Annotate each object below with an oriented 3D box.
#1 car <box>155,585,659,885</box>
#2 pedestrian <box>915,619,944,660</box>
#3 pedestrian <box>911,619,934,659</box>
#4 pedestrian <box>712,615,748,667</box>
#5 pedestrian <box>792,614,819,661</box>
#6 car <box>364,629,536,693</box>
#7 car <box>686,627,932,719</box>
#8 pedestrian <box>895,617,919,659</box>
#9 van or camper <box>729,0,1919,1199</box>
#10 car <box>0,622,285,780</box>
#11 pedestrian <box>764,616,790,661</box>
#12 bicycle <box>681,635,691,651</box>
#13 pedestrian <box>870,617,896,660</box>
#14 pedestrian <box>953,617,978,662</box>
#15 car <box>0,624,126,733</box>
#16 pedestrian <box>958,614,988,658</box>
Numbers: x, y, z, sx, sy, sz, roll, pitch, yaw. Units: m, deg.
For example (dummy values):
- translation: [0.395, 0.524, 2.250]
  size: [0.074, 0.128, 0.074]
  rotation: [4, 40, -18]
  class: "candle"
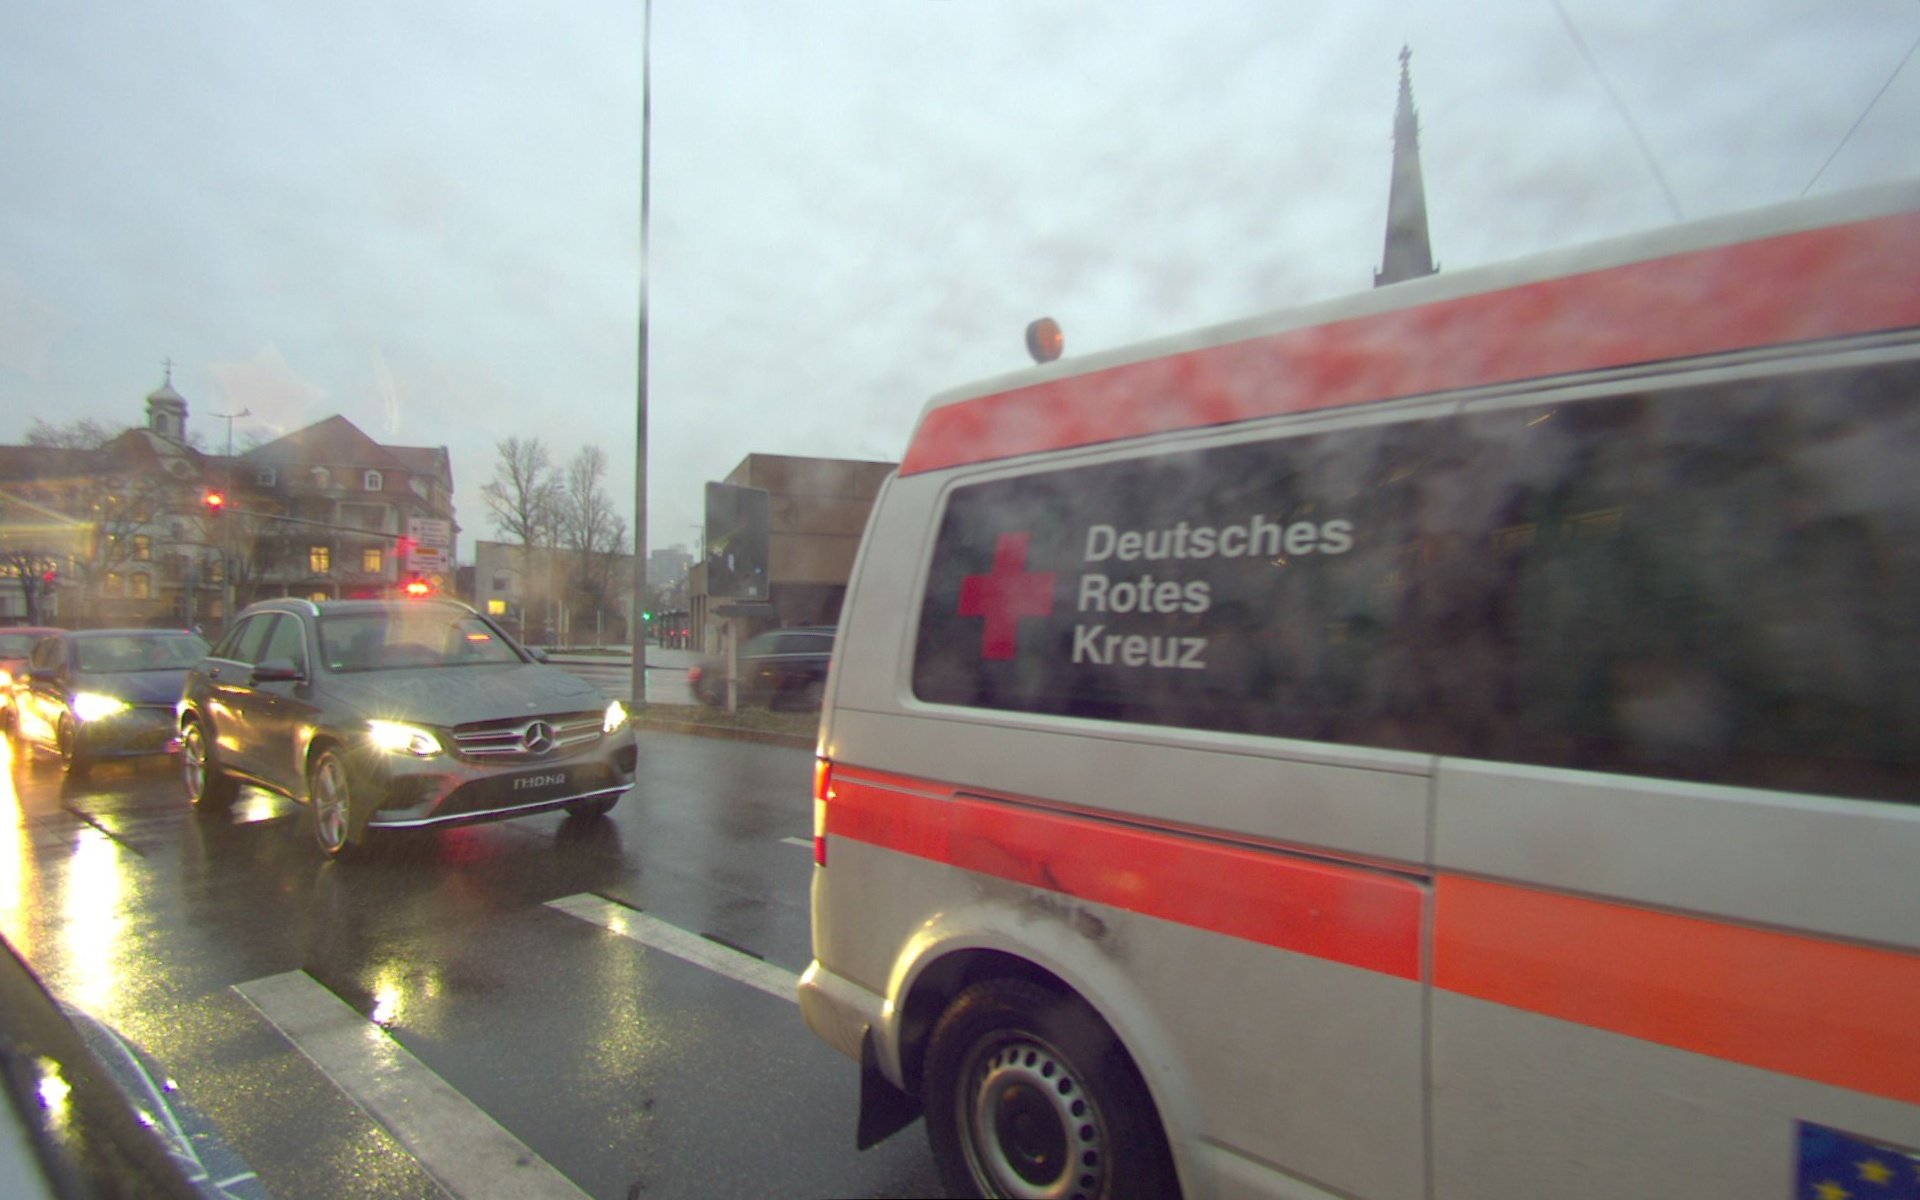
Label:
- translation: [-4.336, 0.767, 7.590]
  size: [4.537, 1.613, 1.767]
  rotation: [-1, -1, 40]
  class: "car"
- translation: [-1.224, 1.584, 40.447]
  size: [0.841, 1.615, 0.968]
  rotation: [1, -3, -21]
  class: "pedestrian"
- translation: [-1.647, 1.708, 44.727]
  size: [0.741, 1.739, 0.735]
  rotation: [-1, -3, 31]
  class: "pedestrian"
- translation: [-8.606, 1.542, 37.962]
  size: [1.021, 1.872, 1.234]
  rotation: [-2, -3, 0]
  class: "pedestrian"
- translation: [-5.993, 1.460, 39.239]
  size: [0.828, 1.781, 0.657]
  rotation: [-1, -3, 23]
  class: "pedestrian"
- translation: [-12.772, 1.456, 25.234]
  size: [4.811, 1.430, 1.790]
  rotation: [-1, -1, 35]
  class: "car"
- translation: [-2.730, 1.189, 17.770]
  size: [4.443, 1.383, 1.657]
  rotation: [-1, 0, 38]
  class: "car"
- translation: [-2.225, 1.584, 42.380]
  size: [0.740, 1.739, 0.736]
  rotation: [-1, -3, 26]
  class: "pedestrian"
- translation: [1.936, 0.326, 1.873]
  size: [4.987, 2.125, 2.178]
  rotation: [-1, -1, 43]
  class: "van or camper"
- translation: [-9.254, 0.982, 11.227]
  size: [4.112, 1.414, 1.644]
  rotation: [-1, 0, 36]
  class: "car"
- translation: [-7.243, 1.523, 40.085]
  size: [0.731, 1.739, 0.745]
  rotation: [3, -3, -42]
  class: "pedestrian"
- translation: [-20.512, 3.250, 75.723]
  size: [0.636, 1.113, 2.759]
  rotation: [-1, -3, -17]
  class: "bicycle"
- translation: [-3.162, 1.579, 41.601]
  size: [0.731, 1.739, 0.745]
  rotation: [3, -3, -42]
  class: "pedestrian"
- translation: [0.205, 1.560, 40.277]
  size: [0.757, 1.764, 0.795]
  rotation: [-1, -3, 22]
  class: "pedestrian"
- translation: [-14.938, 1.182, 16.071]
  size: [3.864, 1.493, 1.686]
  rotation: [-1, 0, 36]
  class: "car"
- translation: [0.578, 1.637, 45.448]
  size: [1.105, 1.933, 1.065]
  rotation: [1, -3, -14]
  class: "pedestrian"
